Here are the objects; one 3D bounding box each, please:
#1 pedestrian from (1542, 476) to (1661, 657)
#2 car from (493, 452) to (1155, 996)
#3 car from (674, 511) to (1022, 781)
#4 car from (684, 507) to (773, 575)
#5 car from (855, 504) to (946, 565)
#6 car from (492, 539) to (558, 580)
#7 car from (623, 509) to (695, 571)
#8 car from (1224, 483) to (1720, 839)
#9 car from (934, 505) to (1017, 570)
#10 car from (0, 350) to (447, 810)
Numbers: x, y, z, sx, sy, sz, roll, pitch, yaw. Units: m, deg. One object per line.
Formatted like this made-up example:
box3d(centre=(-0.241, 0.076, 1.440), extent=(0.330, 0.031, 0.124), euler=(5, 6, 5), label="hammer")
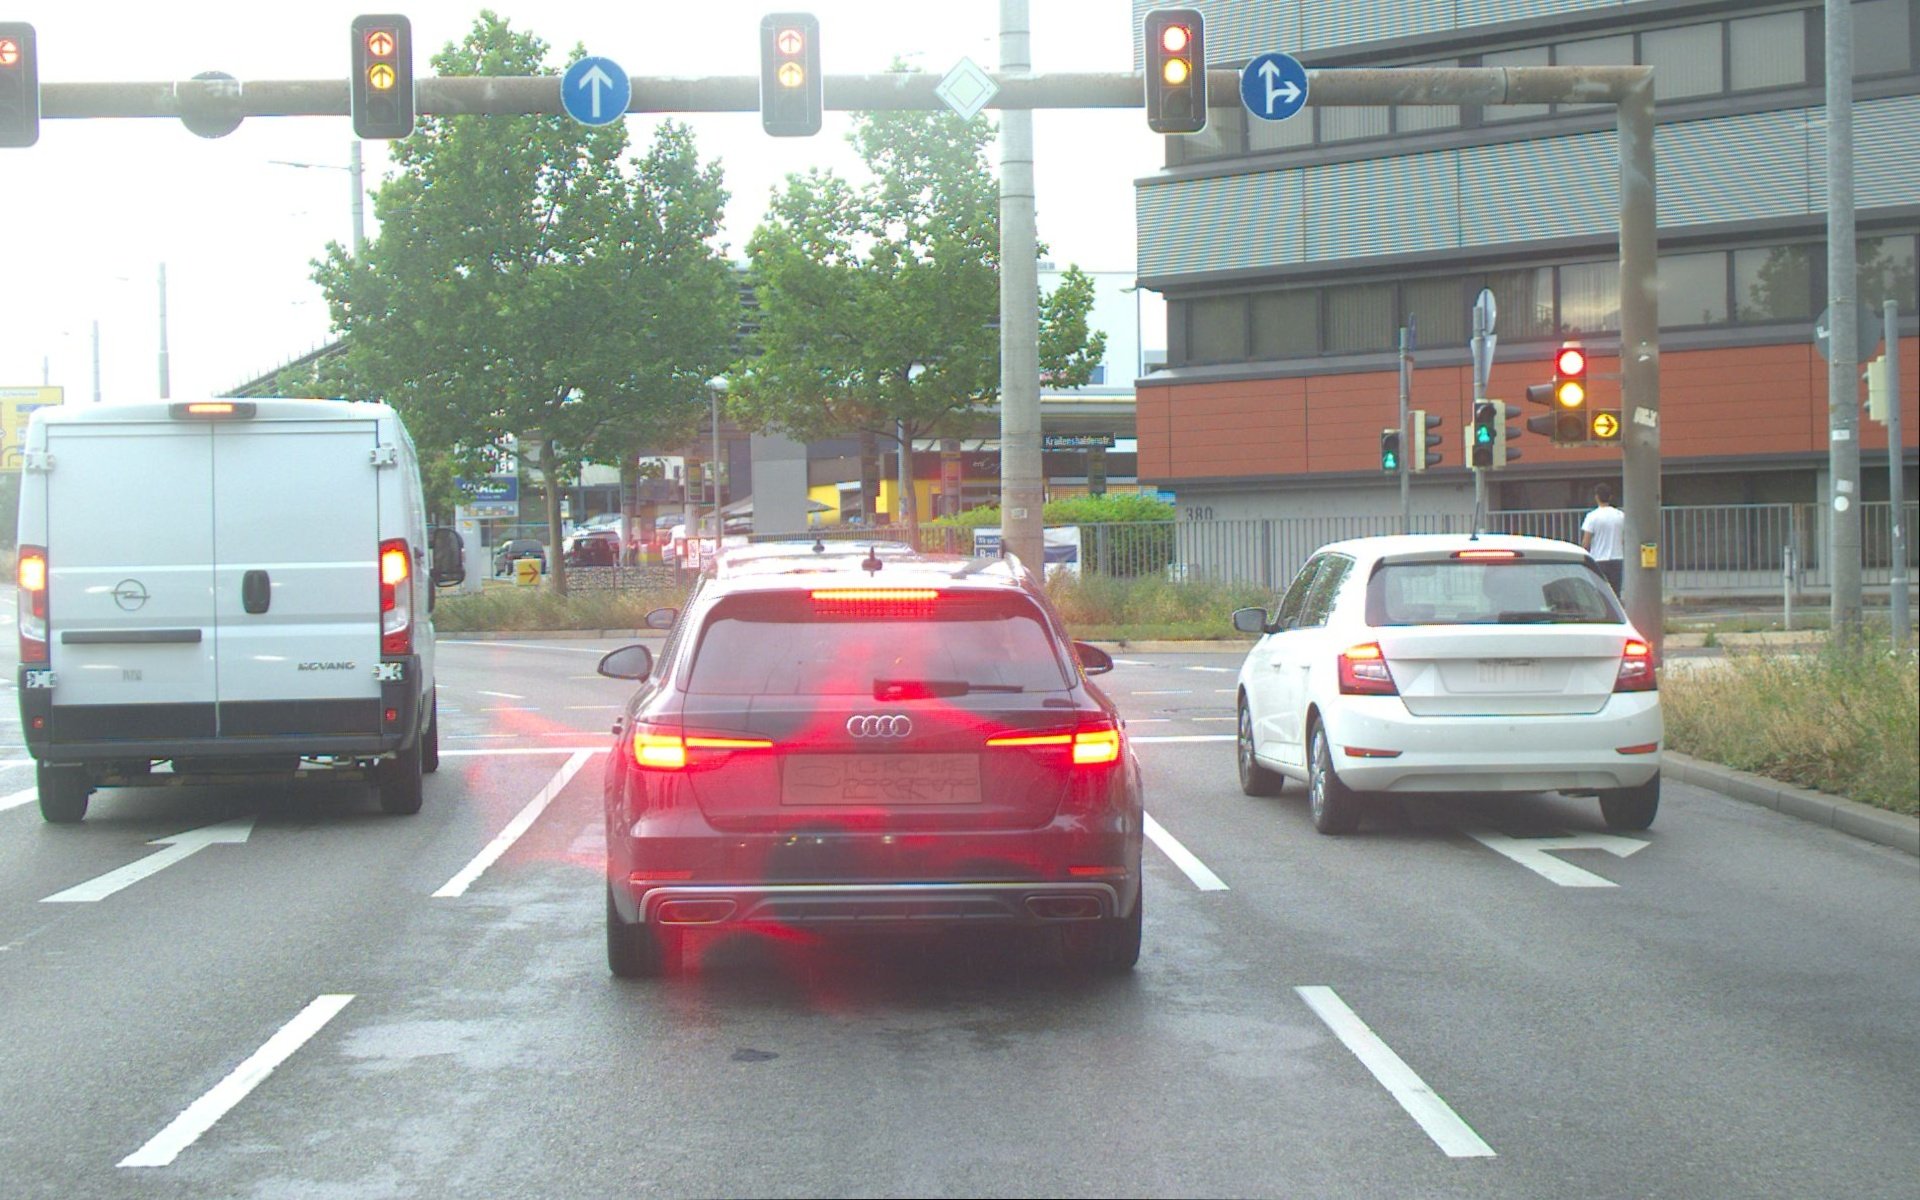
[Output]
box3d(centre=(7.748, -0.421, 41.574), extent=(1.143, 2.118, 1.222), euler=(-2, 2, -1), label="pedestrian")
box3d(centre=(-0.450, 0.376, 12.416), extent=(1.993, 1.632, 4.000), euler=(0, 0, -1), label="car")
box3d(centre=(-0.602, 0.247, 20.754), extent=(1.894, 1.460, 3.909), euler=(0, 0, 0), label="car")
box3d(centre=(-7.150, -1.811, 105.994), extent=(1.993, 2.025, 4.001), euler=(-2, 1, -14), label="car")
box3d(centre=(-2.059, -2.224, 118.232), extent=(1.869, 2.007, 3.775), euler=(1, 0, -22), label="car")
box3d(centre=(-17.380, -1.612, 137.144), extent=(1.791, 1.586, 4.001), euler=(-2, 1, -19), label="car")
box3d(centre=(-10.077, -1.985, 114.931), extent=(1.678, 2.007, 3.543), euler=(1, 0, -17), label="car")
box3d(centre=(2.540, 0.285, 18.004), extent=(1.829, 1.650, 4.000), euler=(0, 0, -3), label="car")
box3d(centre=(0.476, -1.986, 109.854), extent=(1.674, 2.007, 3.138), euler=(1, 0, -18), label="car")
box3d(centre=(-4.255, -0.100, 19.903), extent=(2.444, 2.286, 4.906), euler=(1, 0, -8), label="car")
